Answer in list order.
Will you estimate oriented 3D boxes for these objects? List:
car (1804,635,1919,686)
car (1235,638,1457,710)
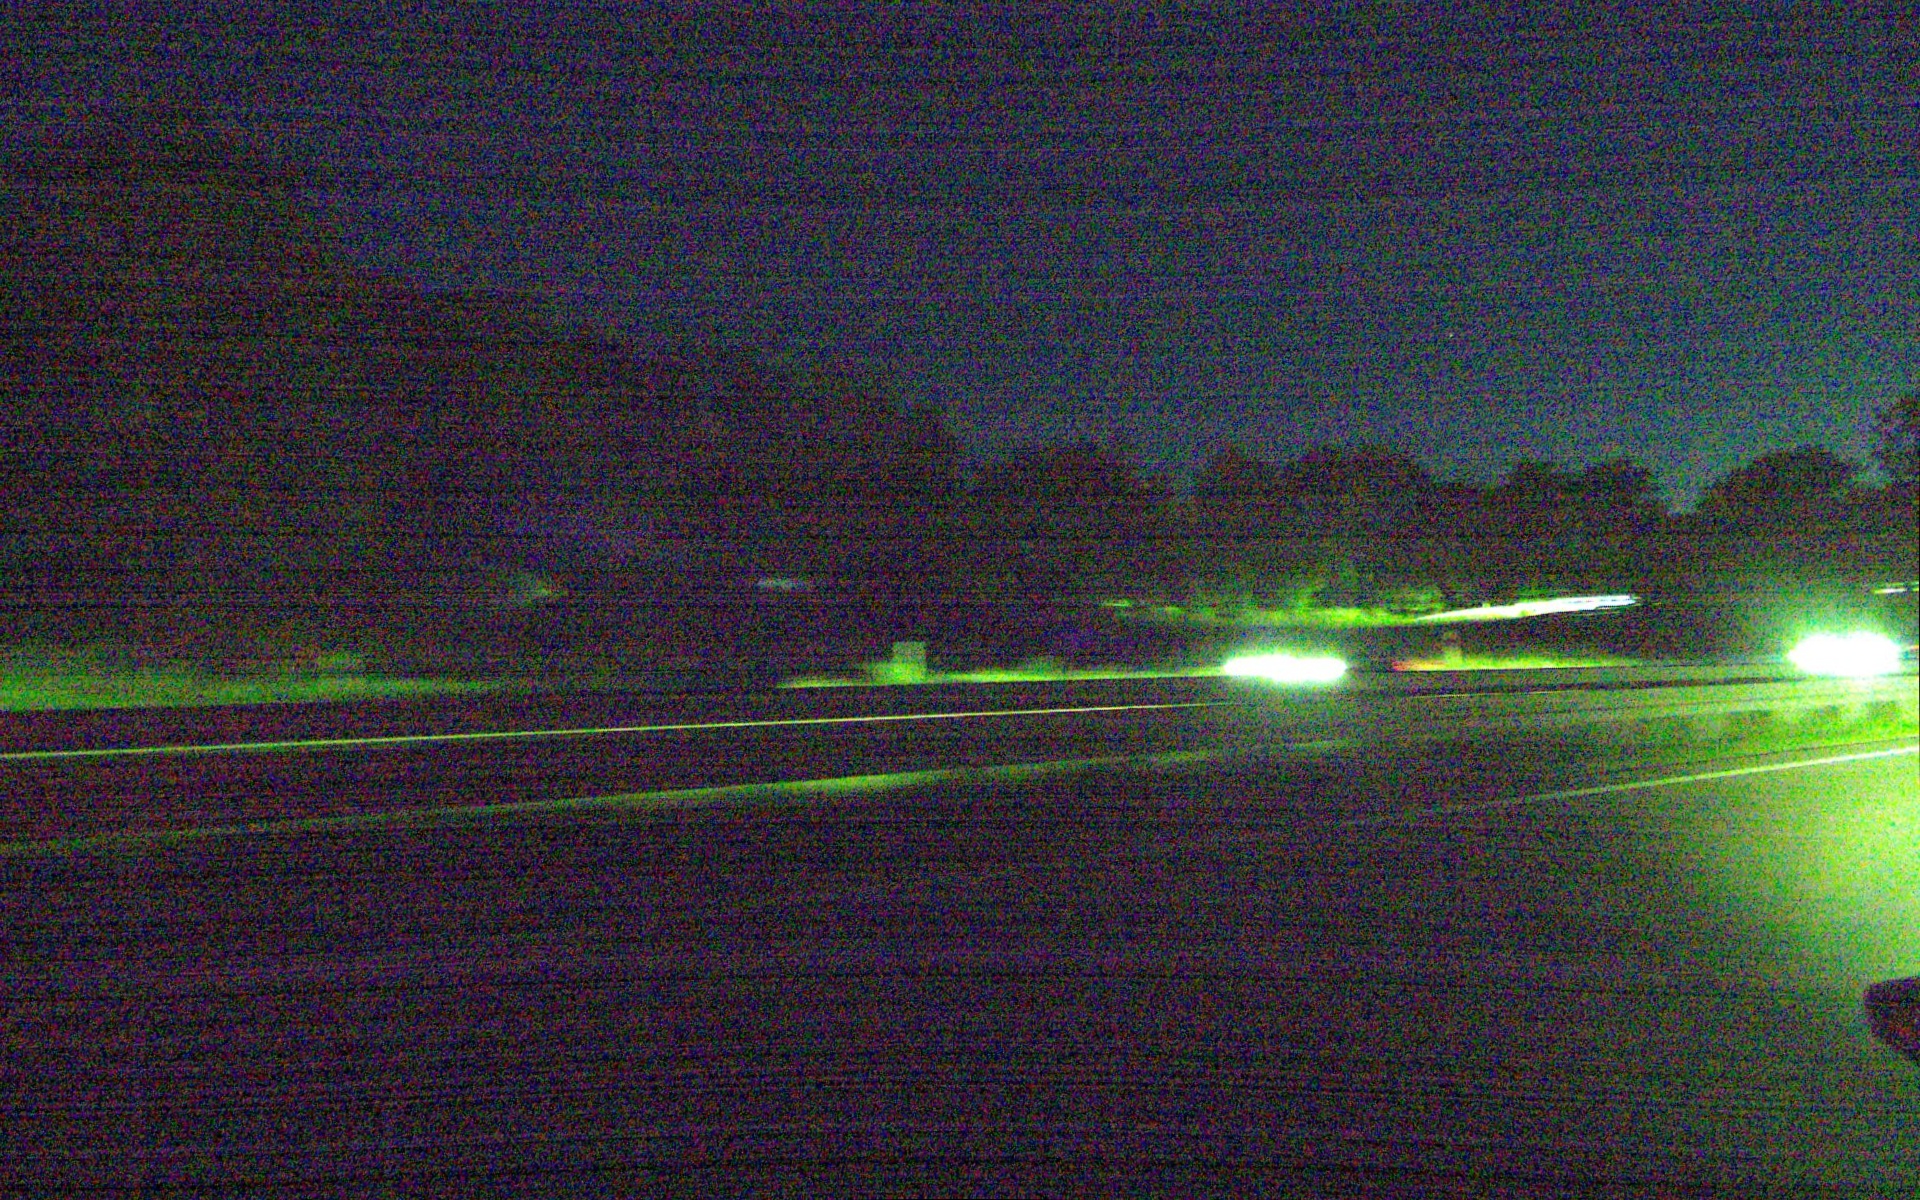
[{"bbox_3d":[30.772,2.004,33.990,4.241,1.577,1.986,1,-1,-28],"label":"car"},{"bbox_3d":[7.962,1.465,20.678,4.241,1.288,1.986,1,-1,-28],"label":"car"}]
